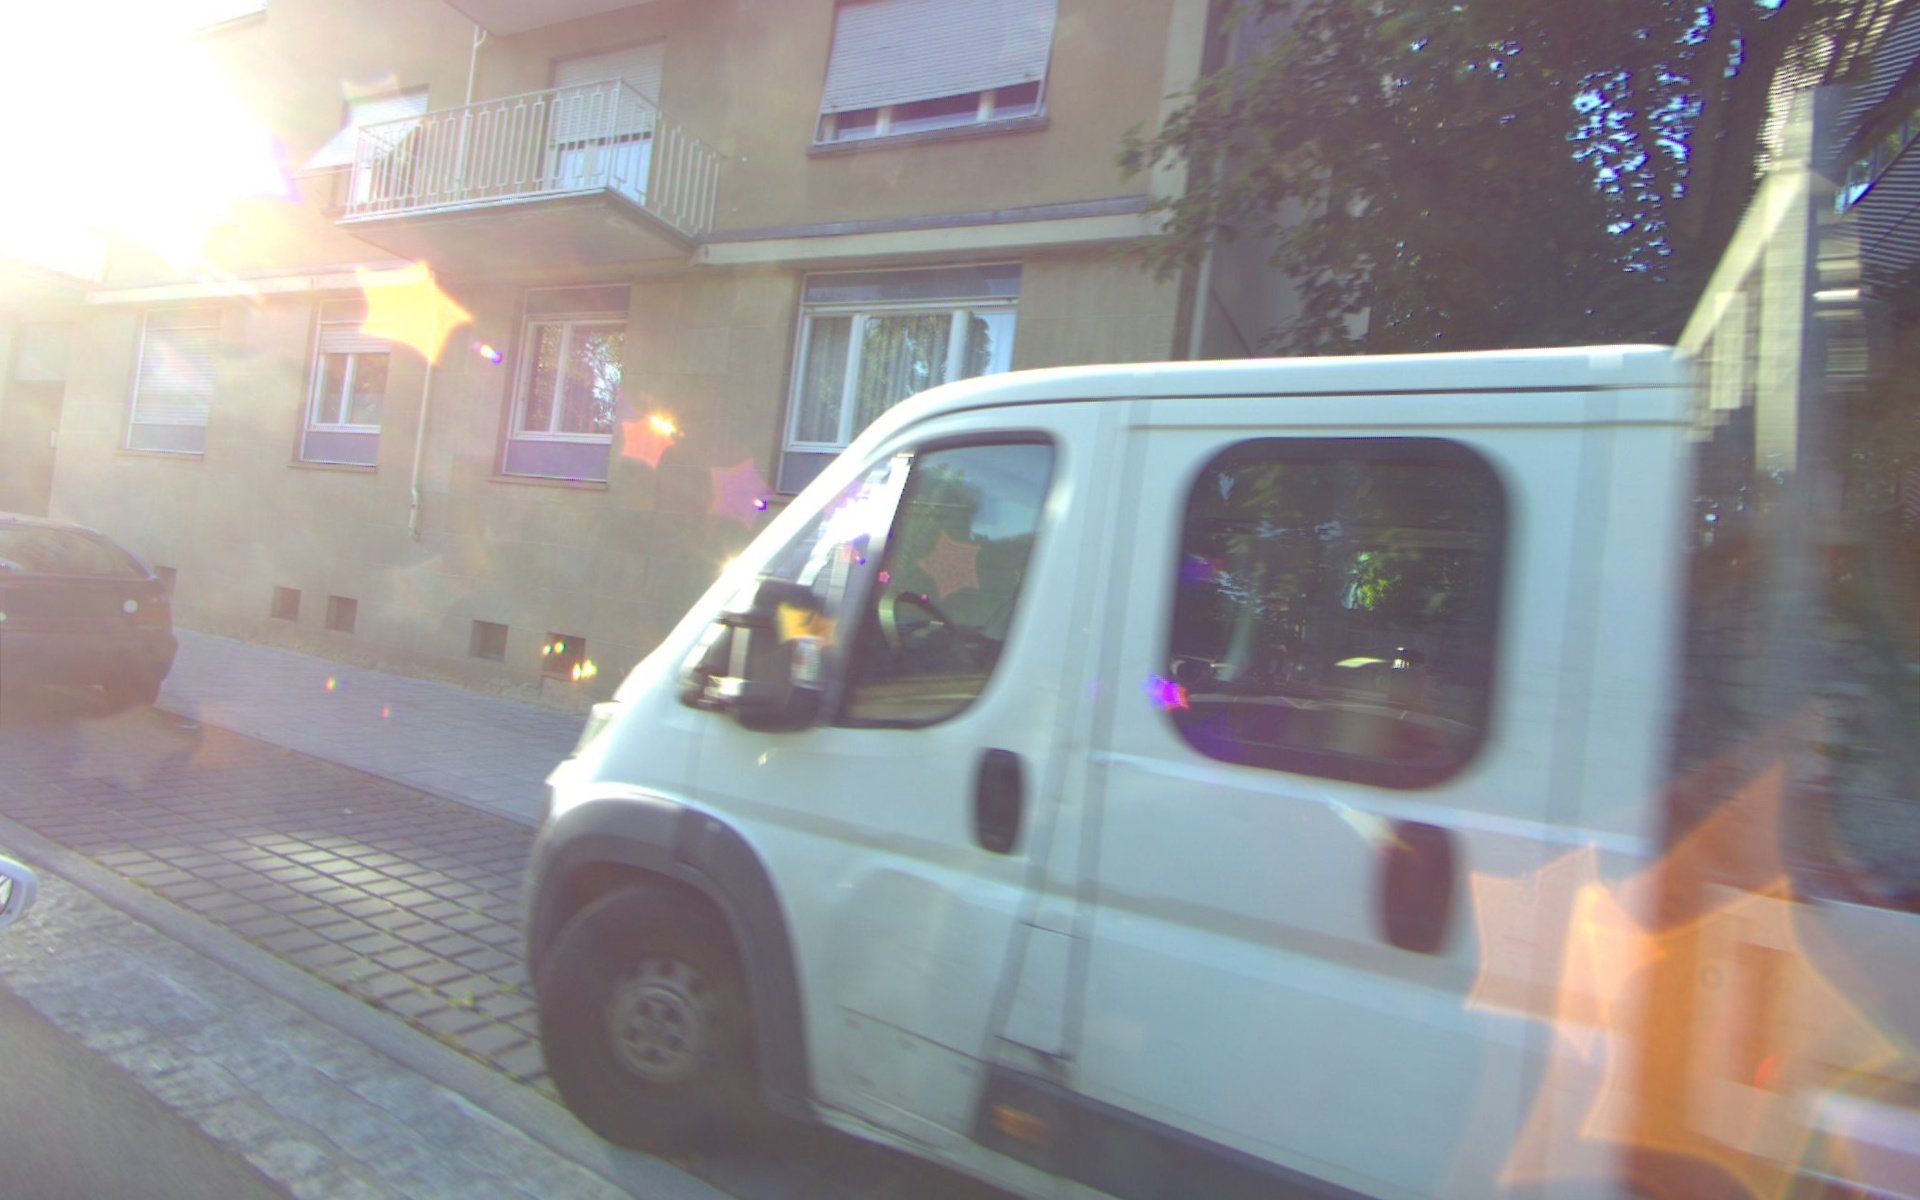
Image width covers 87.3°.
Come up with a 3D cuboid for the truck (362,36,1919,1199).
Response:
[{"bbox_3d":[1.693,0.548,2.440,6.760,2.594,2.133,6,-1,30],"label":"truck"}]

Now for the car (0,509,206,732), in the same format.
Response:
[{"bbox_3d":[-7.848,-0.014,7.752,3.966,1.438,1.705,6,0,29],"label":"car"}]
